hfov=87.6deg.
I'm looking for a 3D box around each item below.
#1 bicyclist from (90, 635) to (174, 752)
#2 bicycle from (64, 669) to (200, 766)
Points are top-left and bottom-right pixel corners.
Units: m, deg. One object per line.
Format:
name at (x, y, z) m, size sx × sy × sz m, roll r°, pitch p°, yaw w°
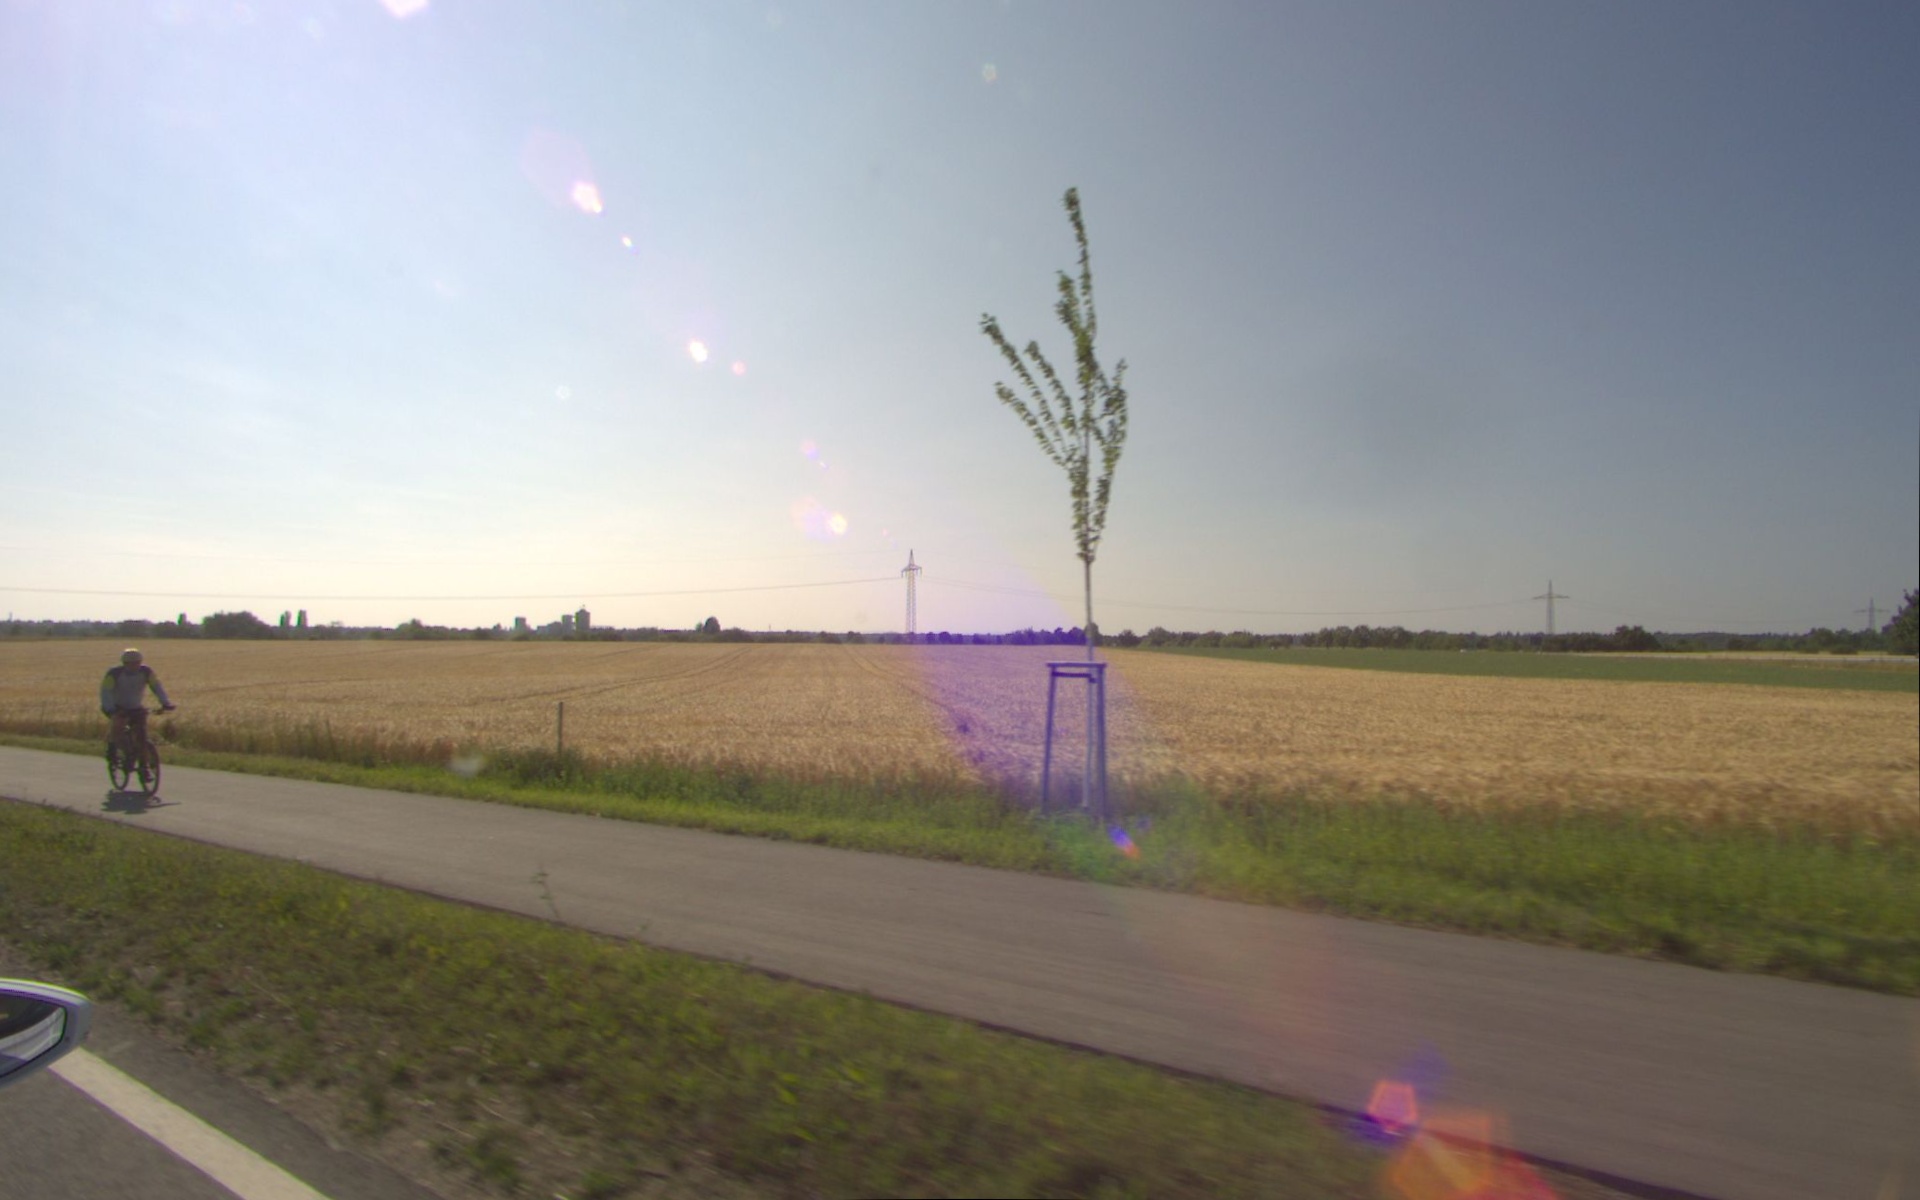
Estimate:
bicyclist at (-10.858, 1.208, 13.126) m, size 0.807 × 1.475 × 0.636 m, roll -2°, pitch -4°, yaw 38°
bicycle at (-10.892, 1.500, 13.146) m, size 2.178 × 1.155 × 0.843 m, roll -2°, pitch -4°, yaw 37°
